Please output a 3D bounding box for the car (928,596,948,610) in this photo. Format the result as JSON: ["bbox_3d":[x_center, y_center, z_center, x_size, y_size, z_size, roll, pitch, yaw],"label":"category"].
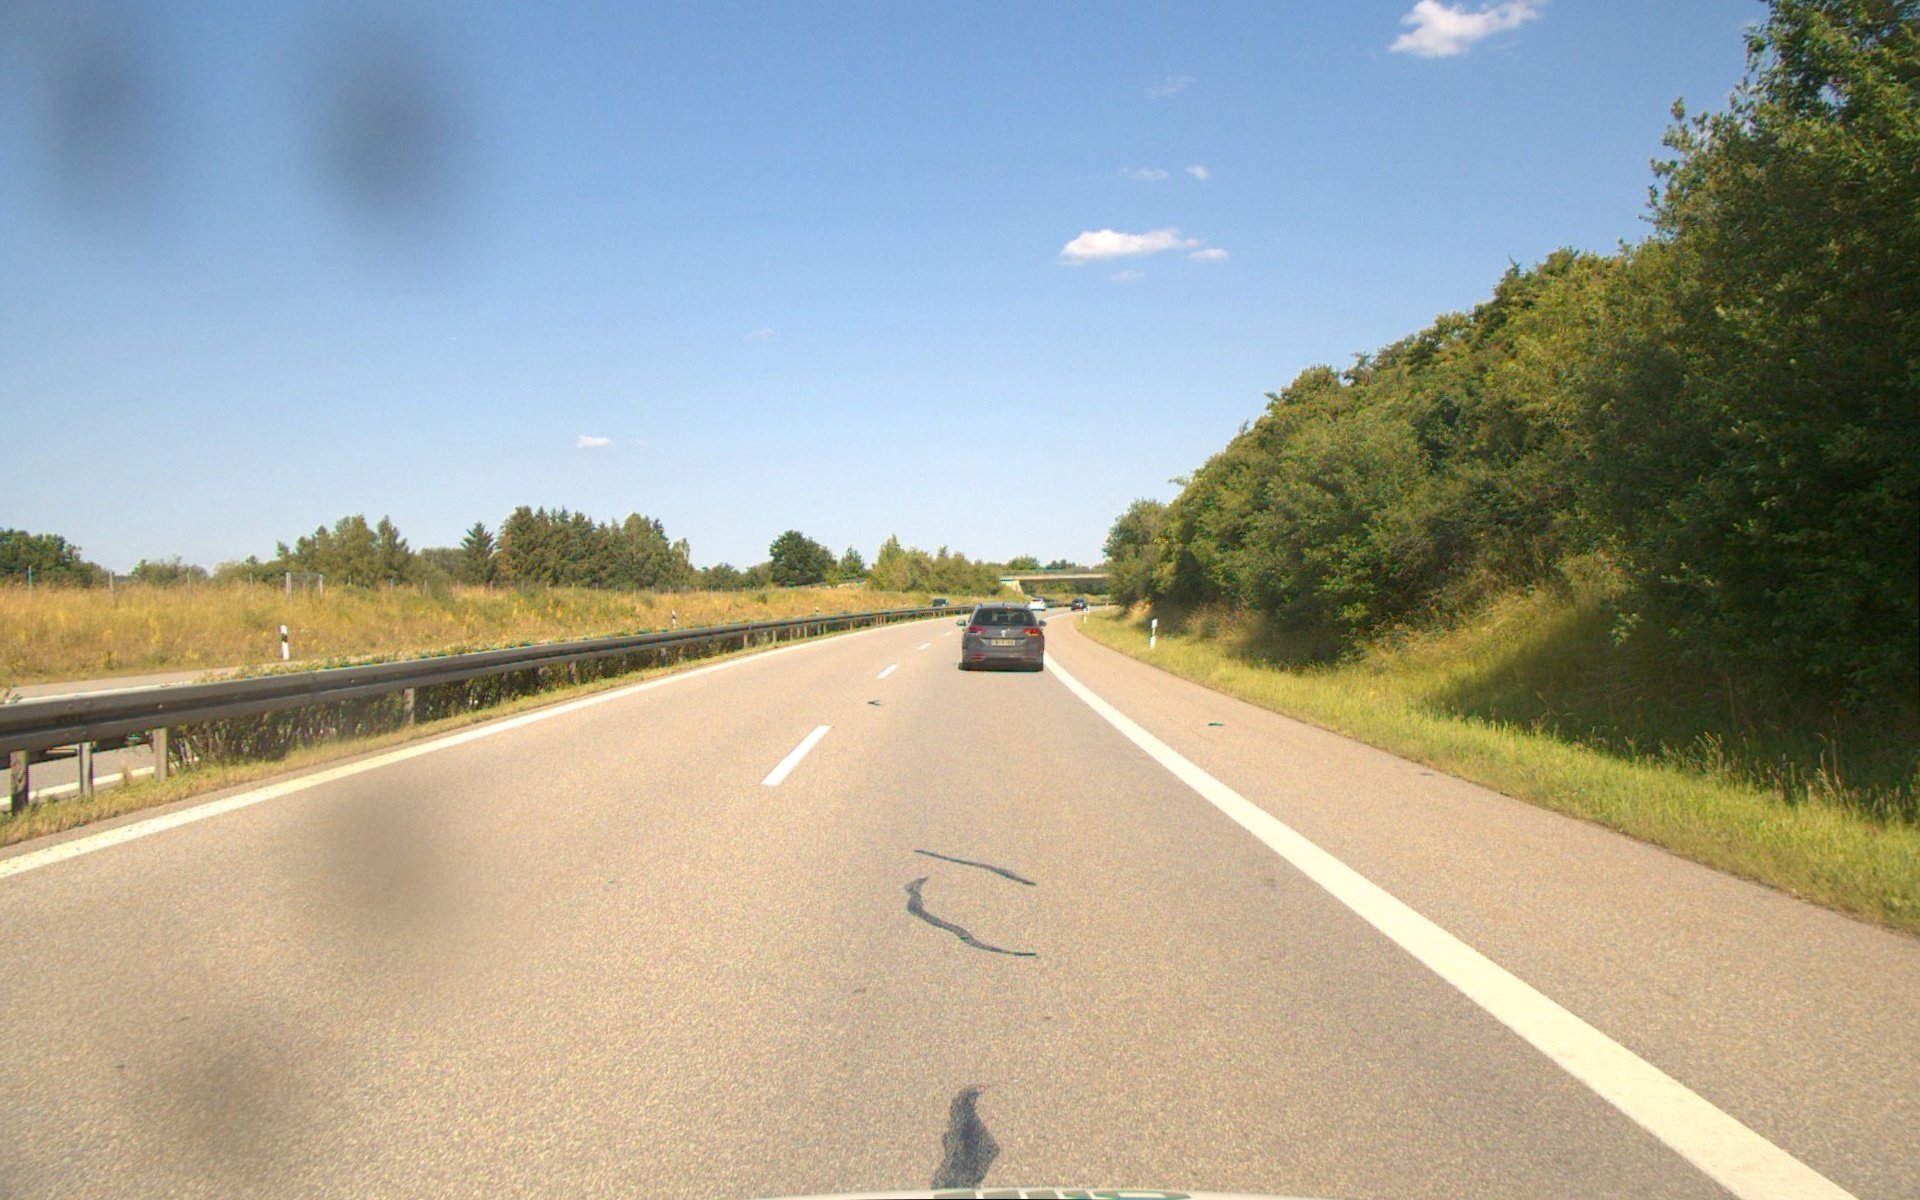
[{"bbox_3d":[-2.545,0.349,193.107,1.793,1.579,4.469,0,1,5],"label":"car"}]

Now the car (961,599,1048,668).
[{"bbox_3d":[0.994,0.743,36.091,1.754,1.368,4.001,2,-1,2],"label":"car"}]

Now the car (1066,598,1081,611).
[{"bbox_3d":[14.198,0.576,206.641,1.674,1.411,3.357,2,-1,5],"label":"car"}]

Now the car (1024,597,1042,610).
[{"bbox_3d":[8.401,0.380,190.759,1.965,1.368,4.001,2,-1,2],"label":"car"}]
